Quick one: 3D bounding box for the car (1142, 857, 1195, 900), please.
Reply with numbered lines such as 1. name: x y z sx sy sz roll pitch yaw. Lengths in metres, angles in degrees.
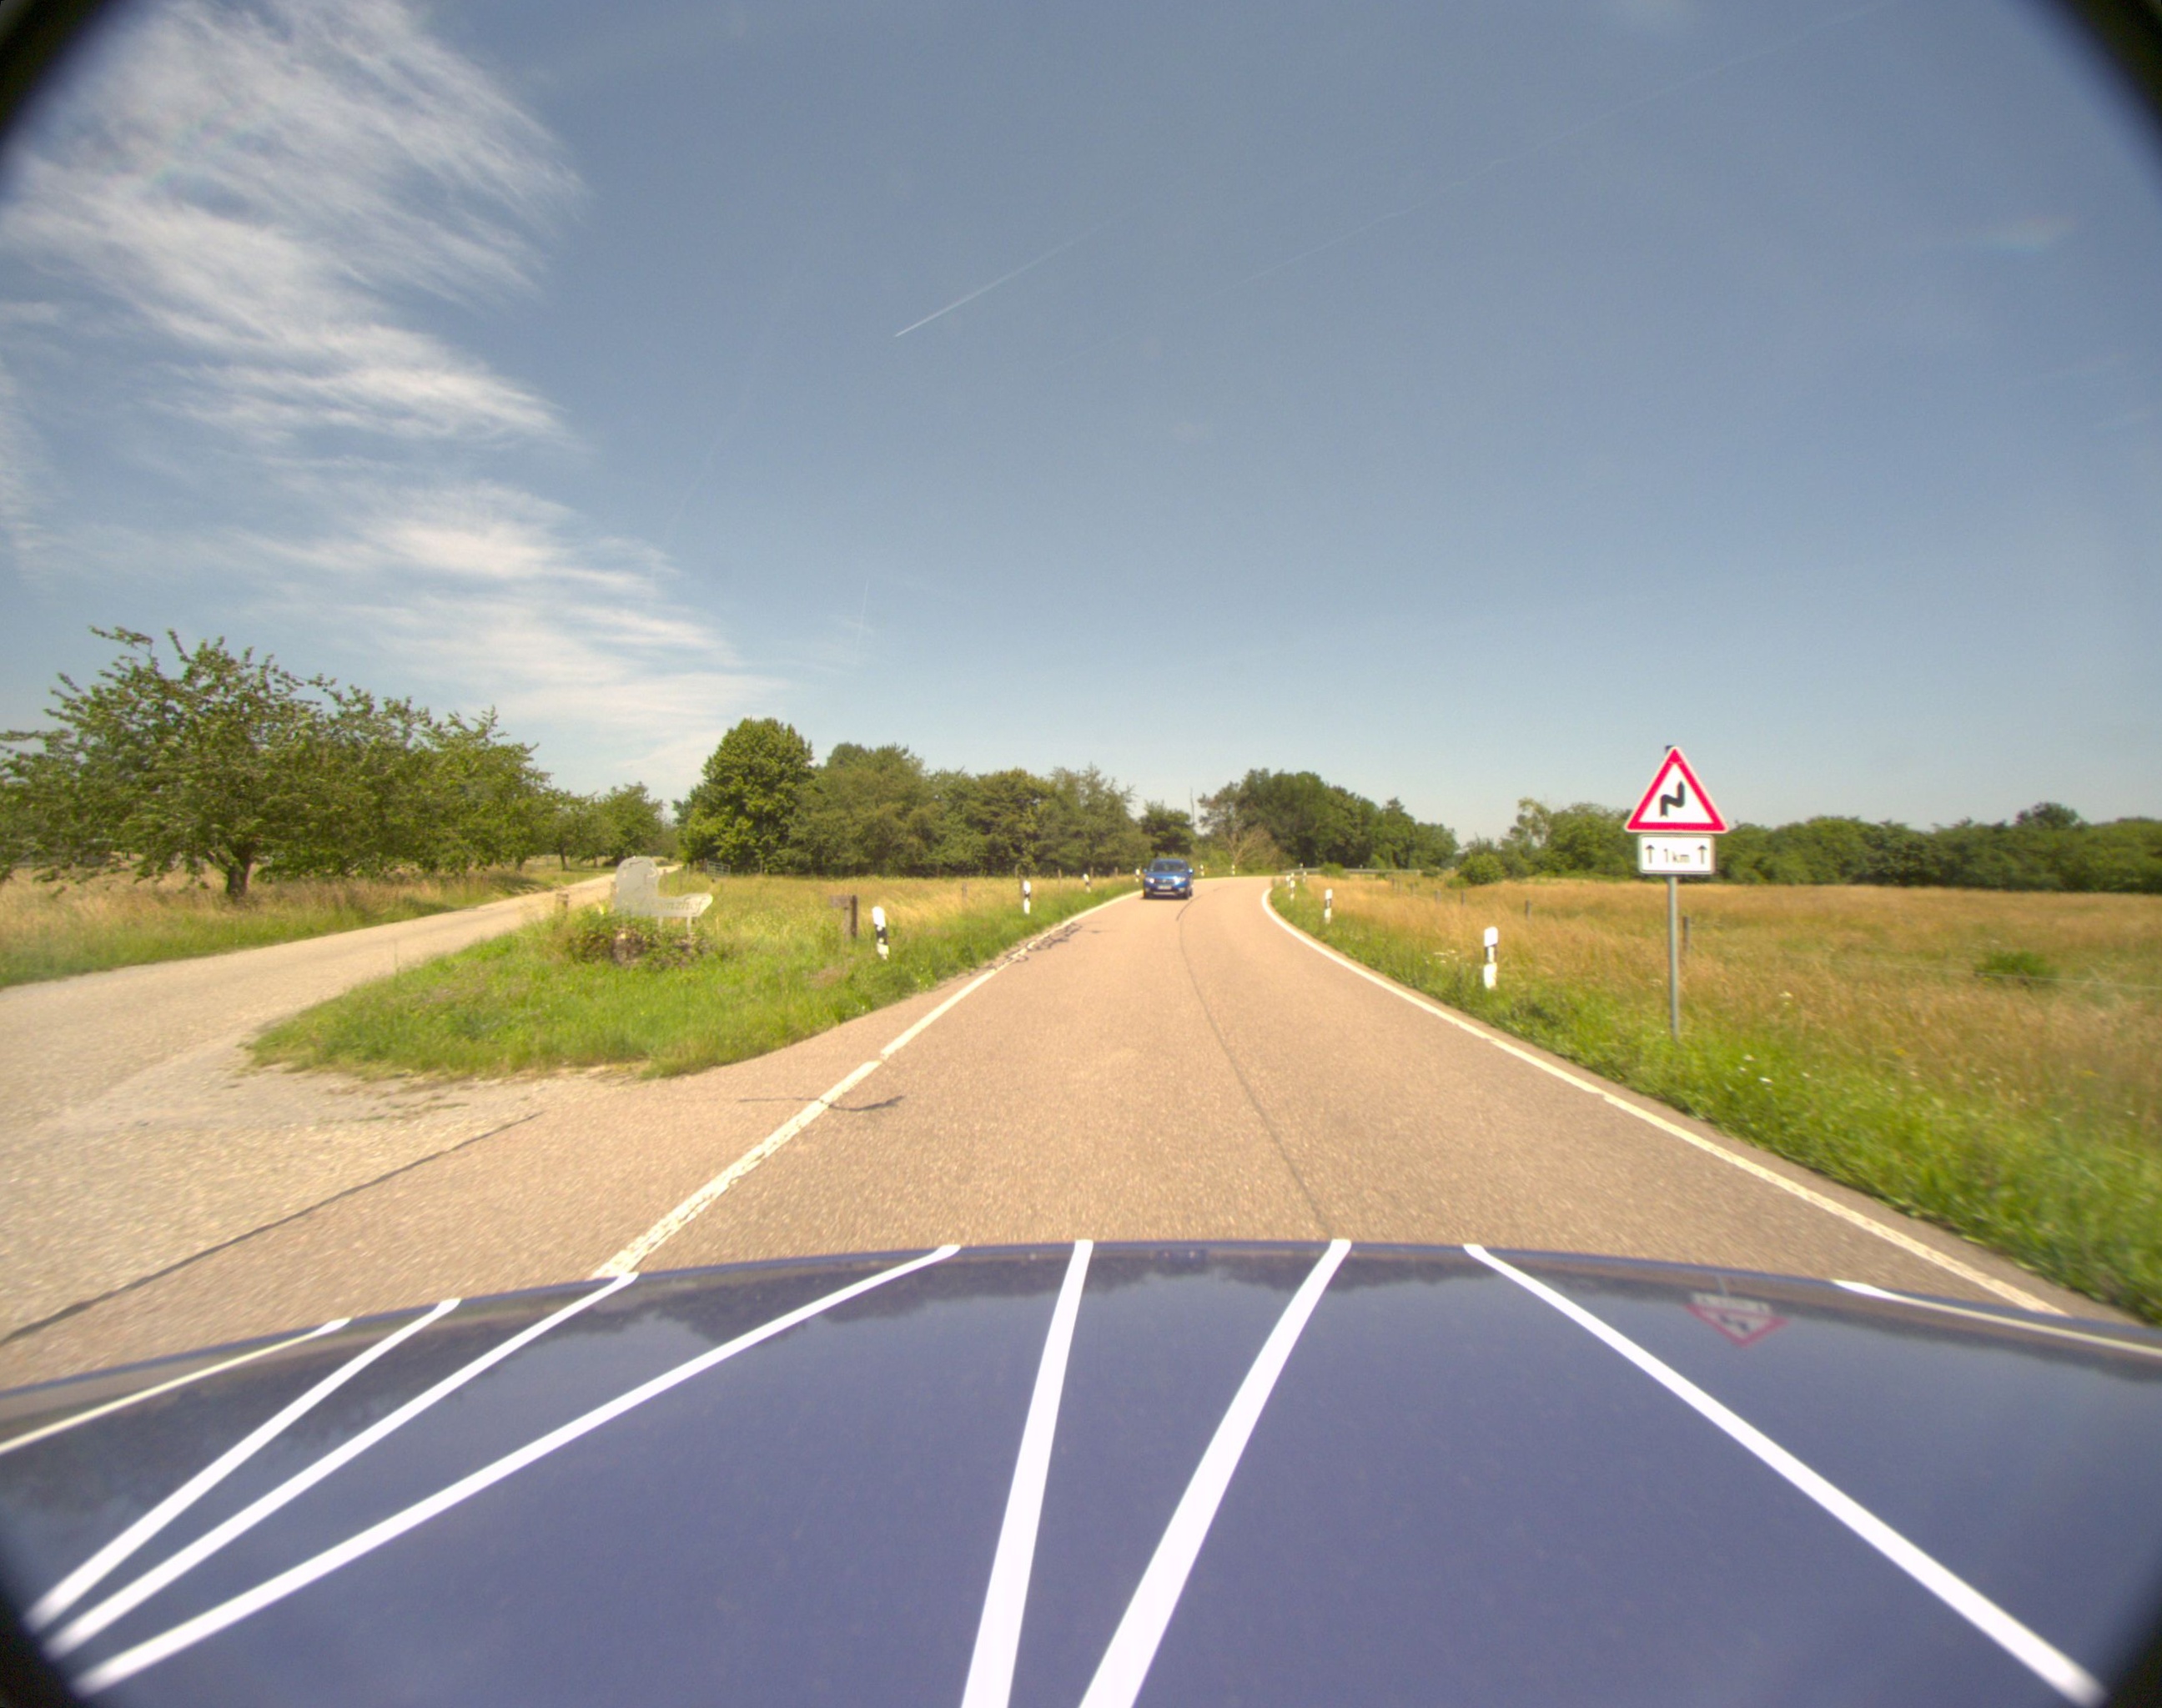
1. car: 3.561 0.932 30.345 1.732 1.572 4.004 0 0 12
